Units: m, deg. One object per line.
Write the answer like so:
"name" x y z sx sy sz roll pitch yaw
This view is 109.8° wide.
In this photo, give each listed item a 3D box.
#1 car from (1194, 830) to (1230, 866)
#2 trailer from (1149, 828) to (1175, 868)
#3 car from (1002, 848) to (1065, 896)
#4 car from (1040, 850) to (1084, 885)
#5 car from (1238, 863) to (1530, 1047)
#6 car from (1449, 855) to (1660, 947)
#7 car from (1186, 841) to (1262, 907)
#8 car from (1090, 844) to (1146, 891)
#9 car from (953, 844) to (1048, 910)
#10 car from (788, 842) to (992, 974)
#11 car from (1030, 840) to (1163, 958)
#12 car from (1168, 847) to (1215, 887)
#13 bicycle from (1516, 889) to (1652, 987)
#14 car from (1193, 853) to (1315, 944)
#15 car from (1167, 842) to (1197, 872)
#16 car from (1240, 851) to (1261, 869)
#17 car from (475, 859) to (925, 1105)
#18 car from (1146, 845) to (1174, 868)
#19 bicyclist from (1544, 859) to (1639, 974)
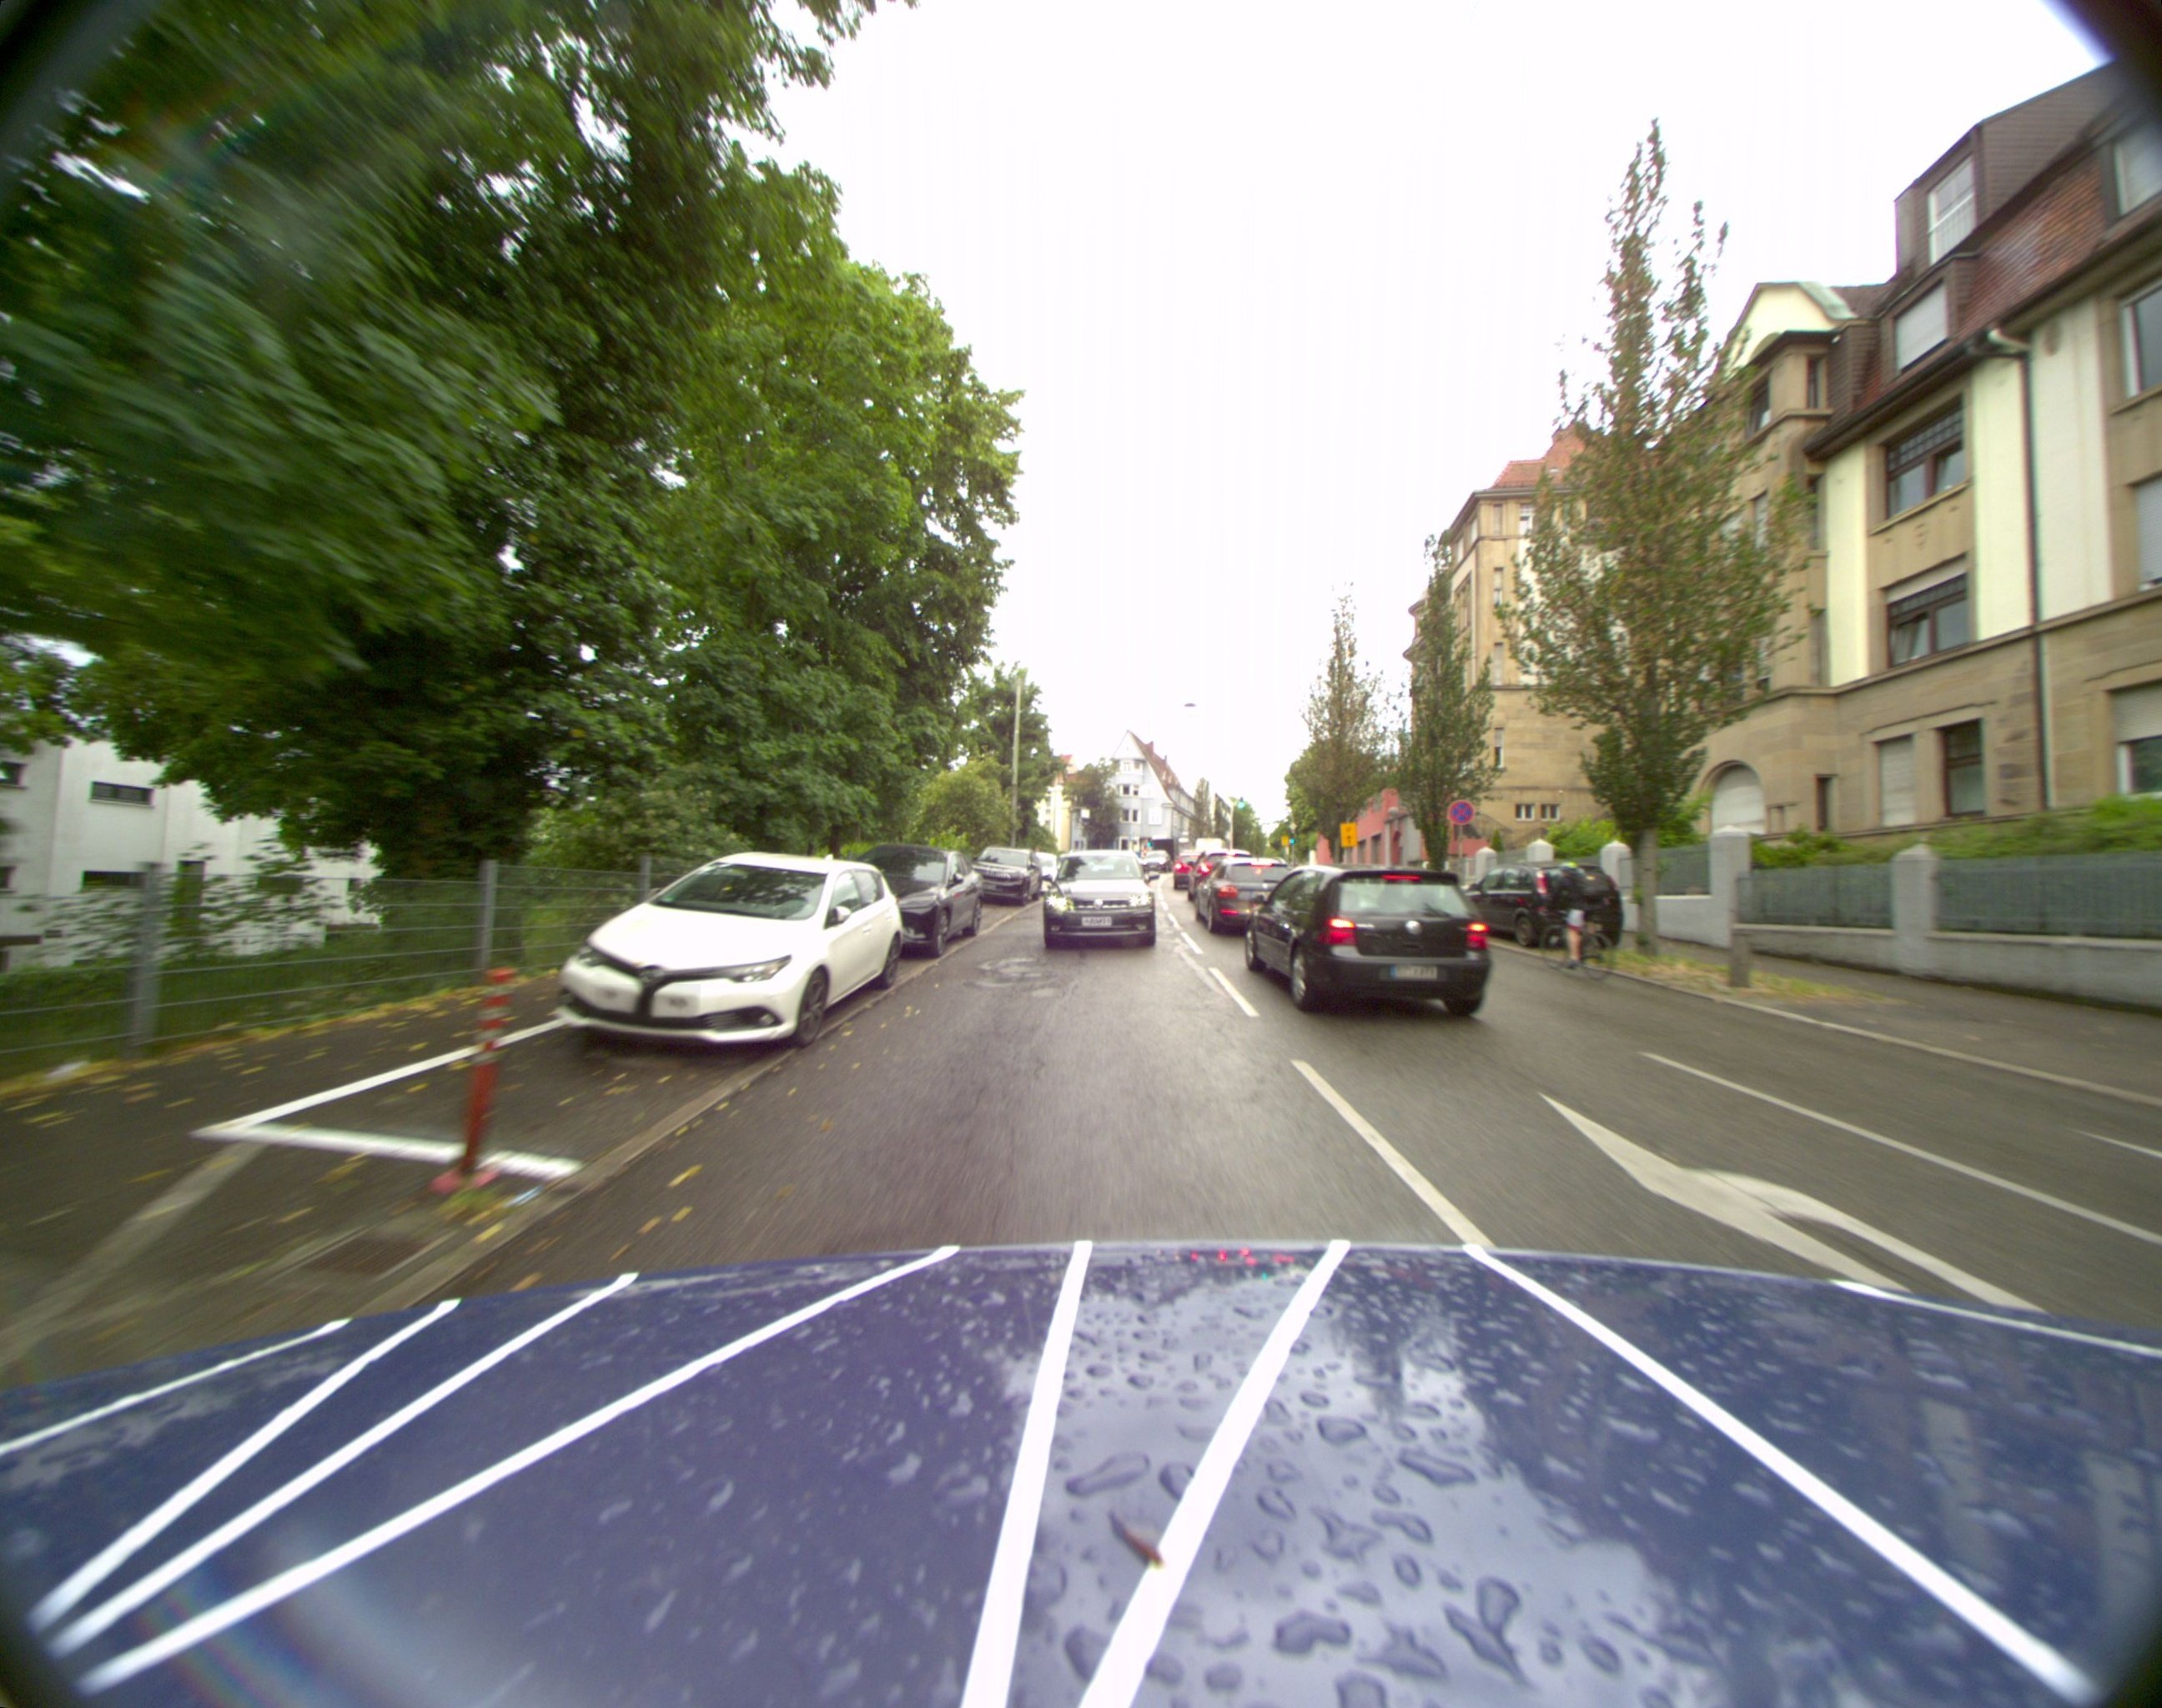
"car" 10.262 -0.440 59.113 2.133 2.491 5.416 3 -1 15
"trailer" 6.321 -0.411 59.053 1.966 3.023 2.366 0 0 7
"car" -1.741 0.639 29.090 1.925 1.552 4.013 5 0 2
"car" -0.904 0.688 38.775 1.925 1.552 4.013 5 -1 2
"car" 2.910 0.859 8.261 1.766 1.423 3.886 1 0 3
"car" 9.386 0.854 15.495 2.001 1.586 3.828 -2 0 3
"car" 4.199 0.545 22.875 1.656 1.698 4.115 3 1 4
"car" 1.513 0.518 29.354 1.924 1.641 4.489 0 -1 6
"car" -2.298 0.608 23.051 1.972 1.641 4.816 5 1 3
"car" -2.892 0.762 12.790 1.925 1.641 4.885 5 -1 2
"car" 0.309 0.706 13.474 1.859 1.641 5.197 1 -1 2
"car" 4.682 0.541 32.616 1.622 1.515 4.116 3 -1 4
"bicycle" 7.273 1.164 11.121 0.657 1.228 1.982 2 0 1
"car" 3.336 0.772 15.423 1.715 1.471 4.114 3 1 4
"car" 6.137 0.221 45.841 1.621 1.652 4.117 3 -1 9
"car" 22.326 0.813 99.868 2.132 2.015 5.418 3 -1 18
"car" -2.976 0.857 7.365 1.746 1.454 4.884 5 -1 1
"car" 5.867 0.197 55.856 1.924 1.641 4.138 0 -1 8
"bicyclist" 7.285 0.864 10.898 0.657 1.547 0.991 2 0 1
